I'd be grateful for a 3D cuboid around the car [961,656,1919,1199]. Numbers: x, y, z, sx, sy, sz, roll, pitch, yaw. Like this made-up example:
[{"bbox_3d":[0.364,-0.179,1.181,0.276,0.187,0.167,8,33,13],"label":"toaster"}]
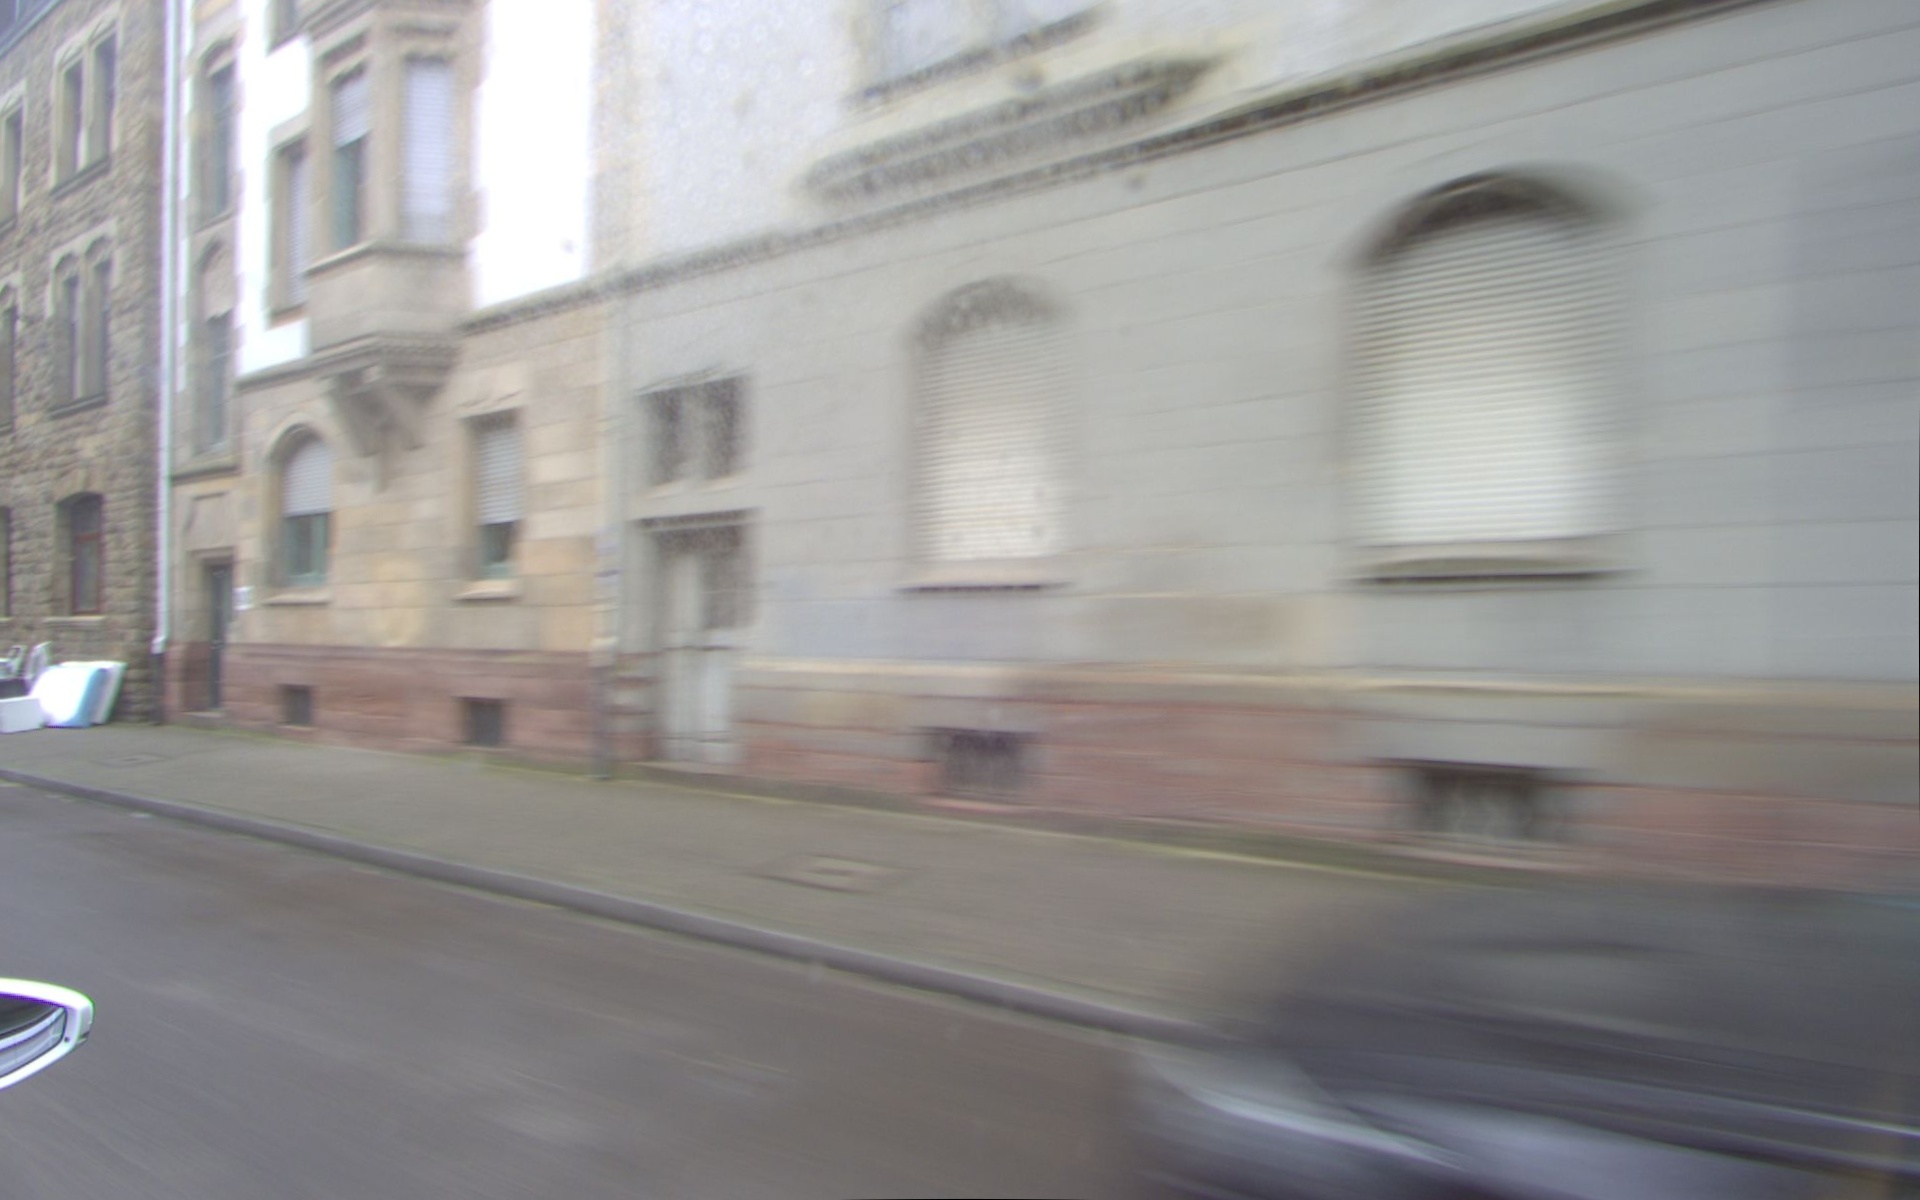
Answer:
[{"bbox_3d":[2.642,0.855,1.180,5.120,1.456,1.799,0,-2,32],"label":"car"}]
